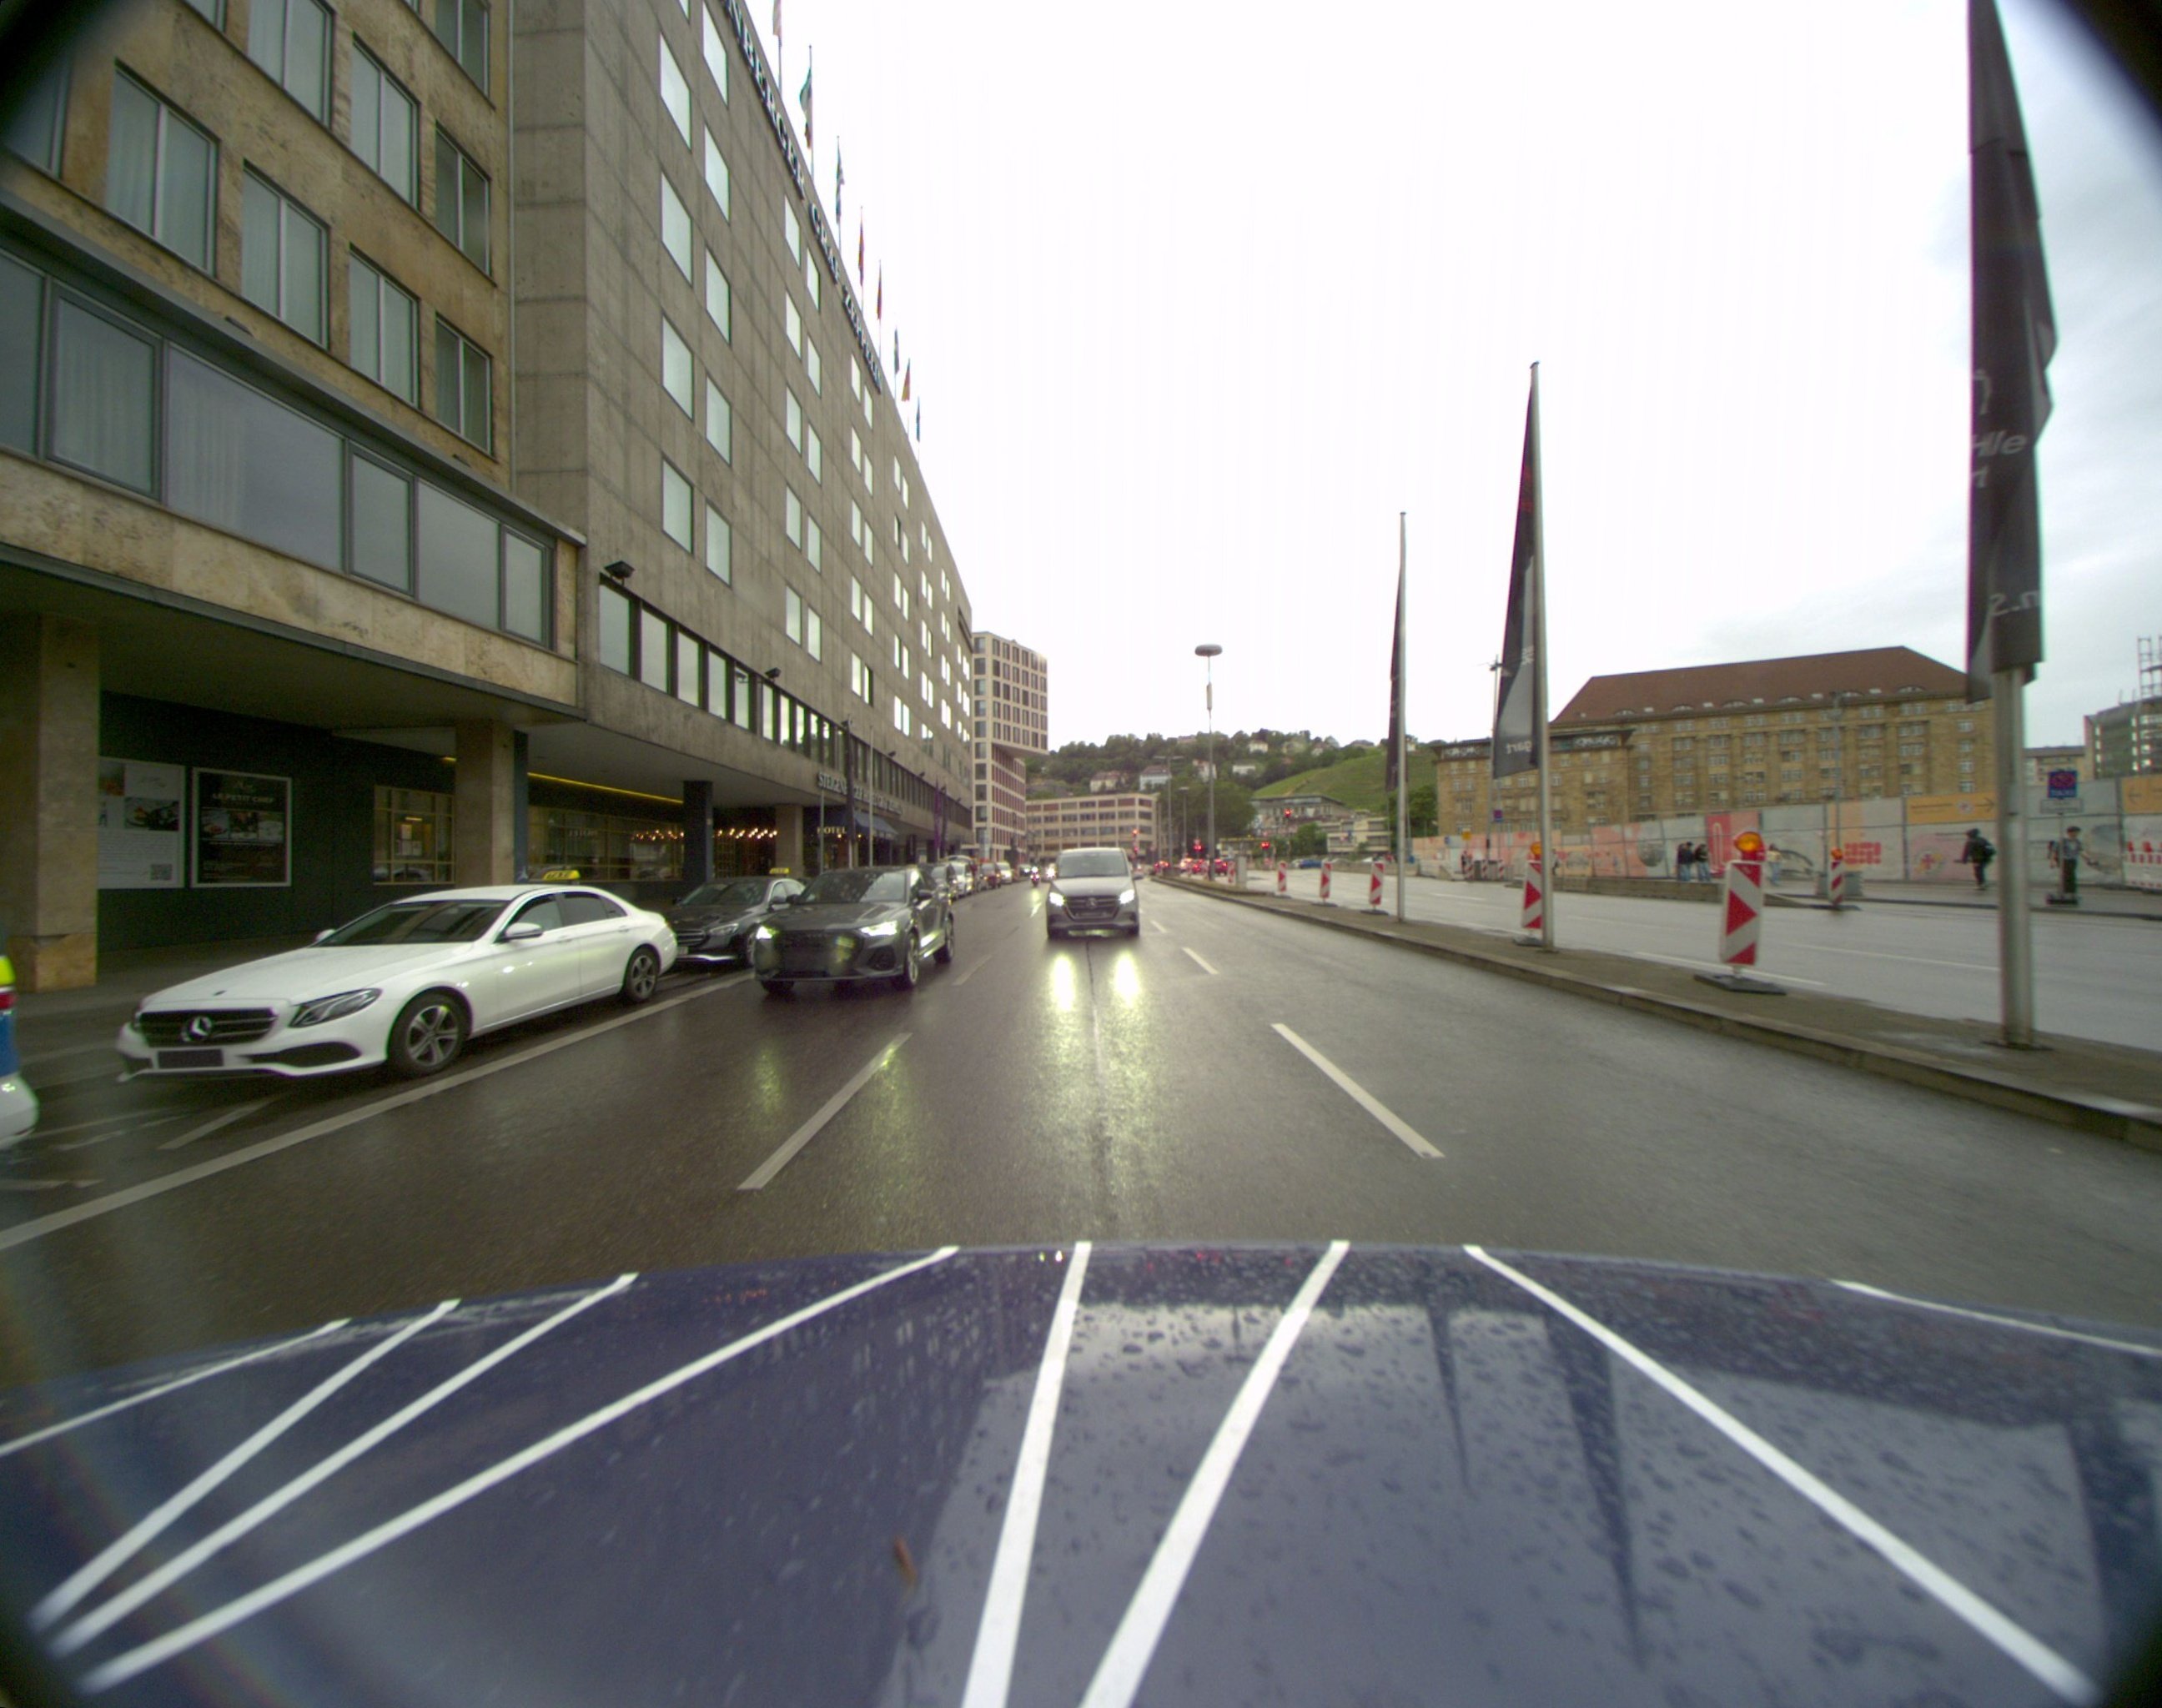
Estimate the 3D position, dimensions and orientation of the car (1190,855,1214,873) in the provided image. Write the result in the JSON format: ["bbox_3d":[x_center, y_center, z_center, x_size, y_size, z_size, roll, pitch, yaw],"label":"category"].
[{"bbox_3d":[12.440,1.012,78.328,1.785,1.684,3.916,-2,0,-1],"label":"car"}]

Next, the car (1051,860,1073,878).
[{"bbox_3d":[-1.795,1.315,69.181,1.869,1.461,3.999,-2,0,-2],"label":"car"}]

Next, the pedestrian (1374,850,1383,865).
[{"bbox_3d":[31.339,0.377,80.130,0.715,1.606,0.544,-2,1,1],"label":"pedestrian"}]

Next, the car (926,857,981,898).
[{"bbox_3d":[-6.077,1.081,36.634,1.731,1.732,4.814,-2,0,0],"label":"car"}]

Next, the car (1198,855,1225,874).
[{"bbox_3d":[12.126,0.928,70.761,1.785,1.684,3.916,-1,0,0],"label":"car"}]

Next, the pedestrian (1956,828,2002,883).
[{"bbox_3d":[26.799,0.050,22.682,0.715,1.606,0.544,-2,1,1],"label":"pedestrian"}]

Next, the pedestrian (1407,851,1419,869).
[{"bbox_3d":[29.009,0.513,66.383,0.715,1.606,0.544,-2,1,1],"label":"pedestrian"}]

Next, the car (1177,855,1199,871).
[{"bbox_3d":[11.877,1.003,84.748,1.785,1.684,3.916,-2,0,-1],"label":"car"}]

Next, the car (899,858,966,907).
[{"bbox_3d":[-6.043,1.105,31.437,1.731,1.732,4.814,-2,0,0],"label":"car"}]

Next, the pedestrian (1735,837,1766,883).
[{"bbox_3d":[25.749,0.224,29.237,0.714,1.734,0.564,-2,1,21],"label":"pedestrian"}]

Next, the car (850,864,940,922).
[{"bbox_3d":[-6.040,1.210,25.265,1.731,1.583,4.814,-2,0,0],"label":"car"}]

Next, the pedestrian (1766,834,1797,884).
[{"bbox_3d":[26.219,0.193,28.432,0.661,1.825,0.556,-2,1,21],"label":"pedestrian"}]

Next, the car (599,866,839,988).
[{"bbox_3d":[-6.081,1.105,13.550,1.879,1.628,4.814,-2,0,0],"label":"car"}]

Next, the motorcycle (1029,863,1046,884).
[{"bbox_3d":[-2.805,1.262,49.207,0.848,1.299,1.965,-2,0,1],"label":"motorcycle"}]

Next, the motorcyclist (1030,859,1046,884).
[{"bbox_3d":[-2.786,1.134,49.236,0.861,1.519,0.844,-2,1,1],"label":"motorcyclist"}]

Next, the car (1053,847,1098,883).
[{"bbox_3d":[-0.215,0.481,34.836,1.898,1.477,4.000,-2,0,0],"label":"car"}]

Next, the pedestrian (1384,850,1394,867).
[{"bbox_3d":[29.706,0.455,73.346,0.715,1.606,0.544,-2,1,1],"label":"pedestrian"}]

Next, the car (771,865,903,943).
[{"bbox_3d":[-6.042,1.162,19.450,1.731,1.583,4.814,-2,0,0],"label":"car"}]

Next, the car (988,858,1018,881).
[{"bbox_3d":[-5.876,1.153,57.641,1.731,1.604,4.001,-2,0,0],"label":"car"}]

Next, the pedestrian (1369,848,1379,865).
[{"bbox_3d":[28.395,0.252,73.727,0.715,1.606,0.544,-2,1,1],"label":"pedestrian"}]

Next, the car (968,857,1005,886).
[{"bbox_3d":[-5.852,1.071,47.321,1.731,1.604,4.001,-2,0,0],"label":"car"}]

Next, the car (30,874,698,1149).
[{"bbox_3d":[-6.101,1.134,7.638,1.879,1.628,5.011,-2,0,0],"label":"car"}]

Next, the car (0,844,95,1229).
[{"bbox_3d":[-6.337,0.951,1.637,1.879,1.909,4.935,-2,0,0],"label":"car"}]

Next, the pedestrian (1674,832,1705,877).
[{"bbox_3d":[23.883,0.019,29.852,0.714,1.723,0.718,-2,1,19],"label":"pedestrian"}]

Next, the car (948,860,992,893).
[{"bbox_3d":[-6.109,1.206,42.142,1.731,1.604,4.001,-2,0,0],"label":"car"}]

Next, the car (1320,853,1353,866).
[{"bbox_3d":[34.072,0.715,101.348,3.993,1.622,2.002,-1,0,14],"label":"car"}]

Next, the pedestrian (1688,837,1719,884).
[{"bbox_3d":[24.997,0.261,30.516,0.714,1.825,0.718,-2,1,19],"label":"pedestrian"}]

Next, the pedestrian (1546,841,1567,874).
[{"bbox_3d":[26.402,0.185,42.204,0.664,1.825,0.720,-2,1,1],"label":"pedestrian"}]

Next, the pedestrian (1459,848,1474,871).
[{"bbox_3d":[27.171,0.373,53.524,0.715,1.606,0.544,-2,1,1],"label":"pedestrian"}]

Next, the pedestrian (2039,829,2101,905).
[{"bbox_3d":[24.654,0.319,18.950,0.587,1.825,0.717,-2,1,1],"label":"pedestrian"}]

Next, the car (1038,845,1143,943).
[{"bbox_3d":[0.226,0.782,17.540,1.998,1.849,5.160,-2,0,1],"label":"car"}]

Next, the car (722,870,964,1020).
[{"bbox_3d":[-2.995,1.064,10.658,1.883,1.493,4.342,-2,0,1],"label":"car"}]
